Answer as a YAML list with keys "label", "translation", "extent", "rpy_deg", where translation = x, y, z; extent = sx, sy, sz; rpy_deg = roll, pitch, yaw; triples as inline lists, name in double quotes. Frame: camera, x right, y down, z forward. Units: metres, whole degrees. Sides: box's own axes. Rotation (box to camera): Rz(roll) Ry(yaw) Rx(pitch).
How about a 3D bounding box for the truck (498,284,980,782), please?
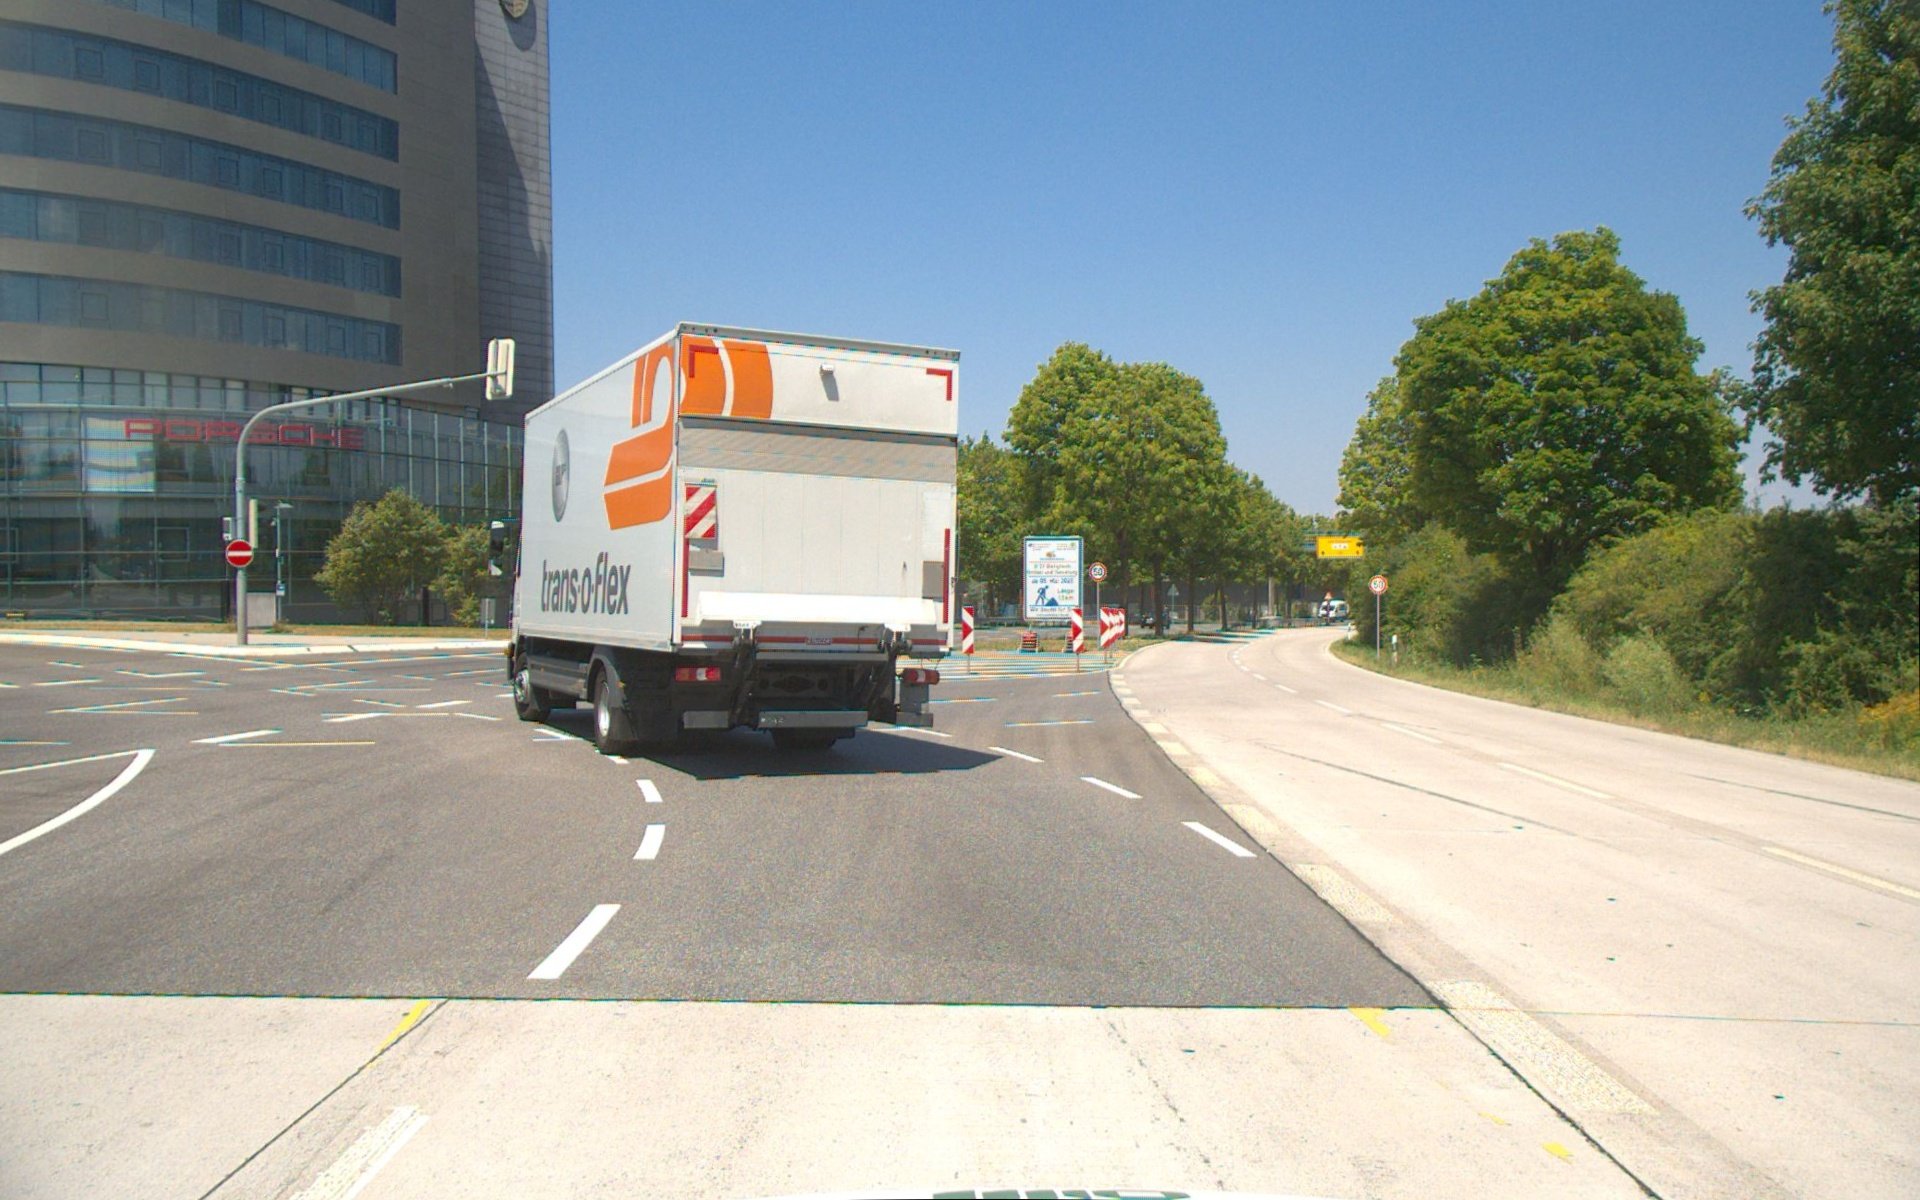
- label: "truck"
  translation: [-2.926, -0.511, 17.878]
  extent: [2.733, 3.927, 9.301]
  rpy_deg: [1, 0, -23]
